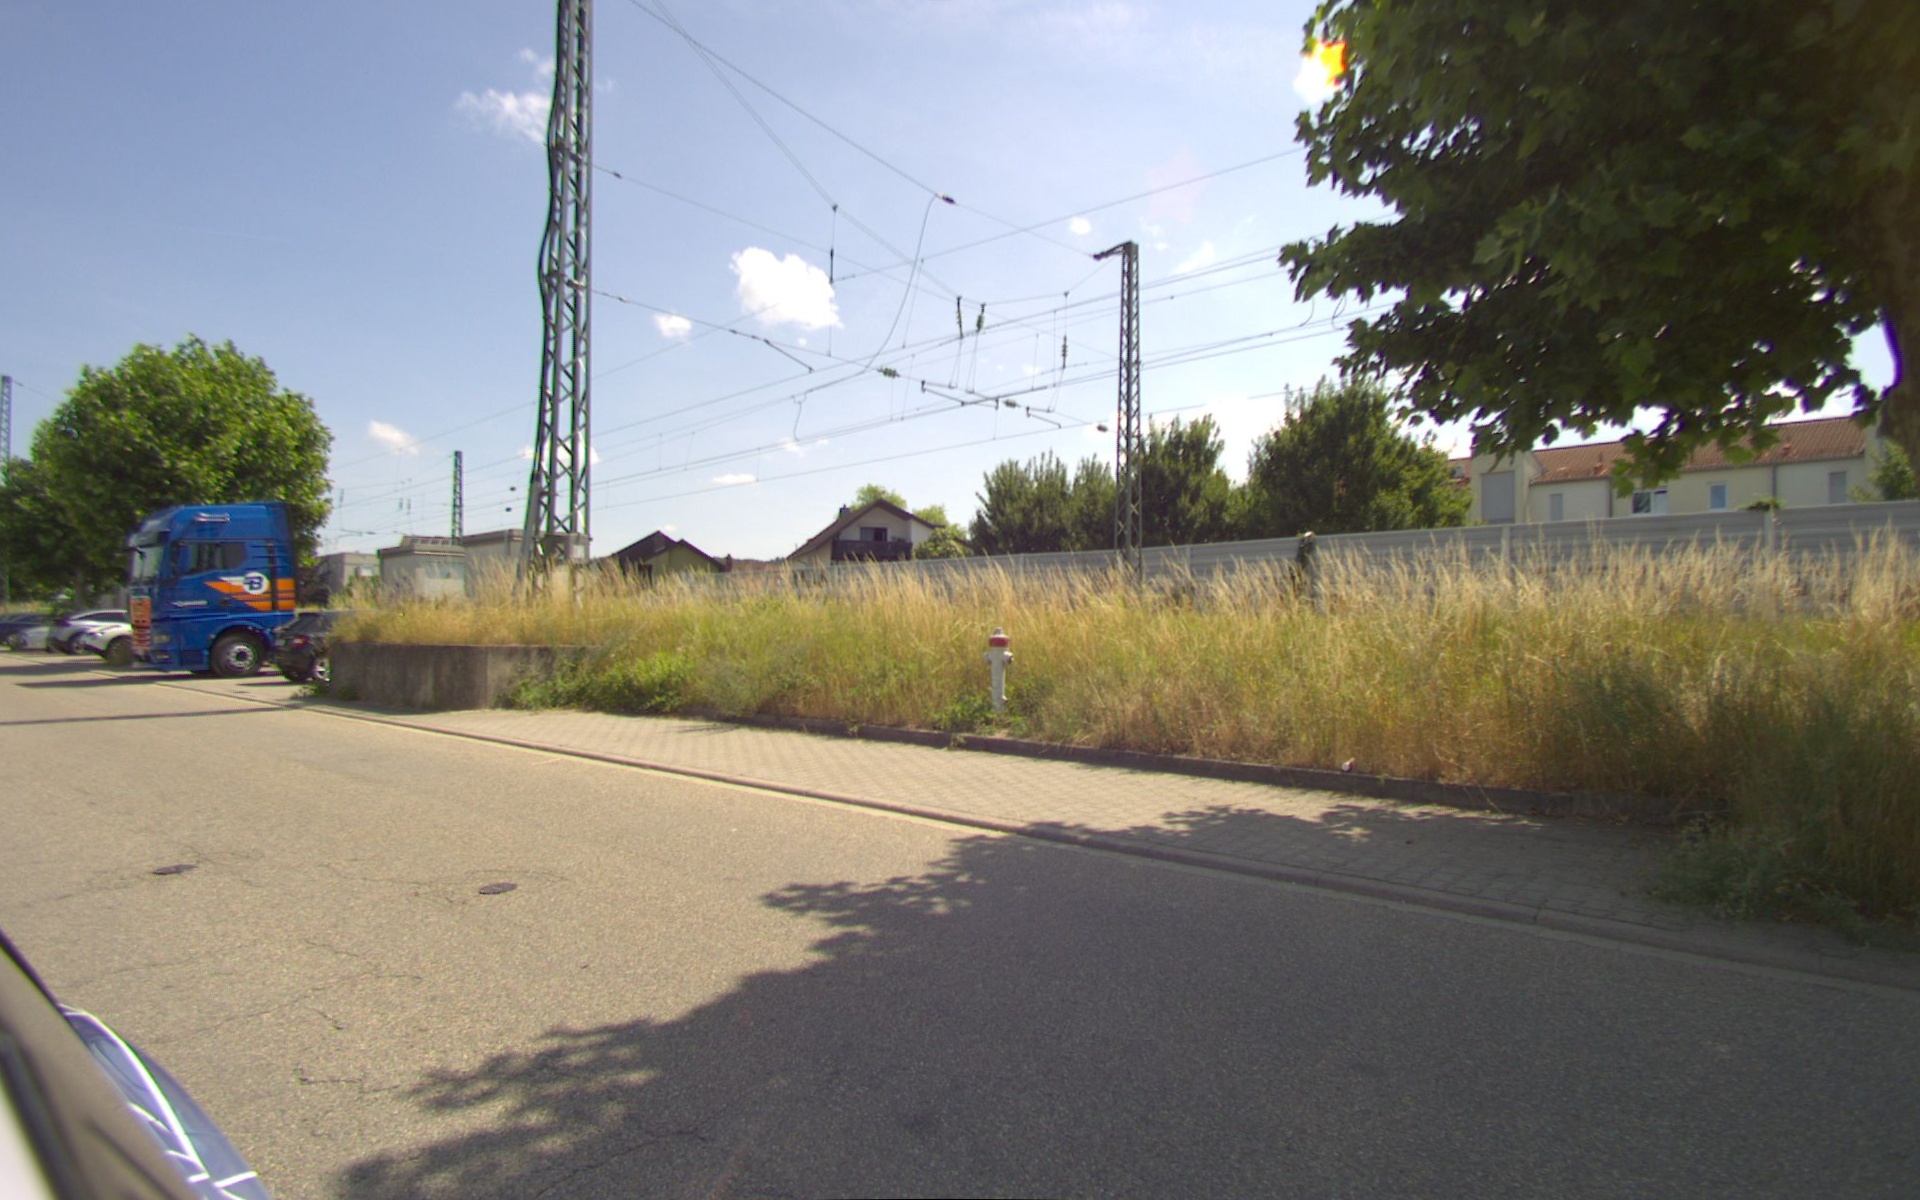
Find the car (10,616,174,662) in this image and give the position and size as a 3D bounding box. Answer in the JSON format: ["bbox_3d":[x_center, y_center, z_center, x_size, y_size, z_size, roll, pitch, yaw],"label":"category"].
[{"bbox_3d":[-31.705,1.393,37.070,1.924,1.544,4.294,-2,-2,40],"label":"car"}]

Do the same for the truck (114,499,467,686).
[{"bbox_3d":[-15.673,-0.112,24.172,2.660,3.852,6.551,-1,-1,38],"label":"truck"}]

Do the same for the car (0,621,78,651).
[{"bbox_3d":[-44.775,1.706,48.184,1.673,1.379,4.031,-3,-3,40],"label":"car"}]

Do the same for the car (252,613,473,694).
[{"bbox_3d":[-12.519,1.093,21.375,1.697,1.511,3.609,1,-1,37],"label":"car"}]

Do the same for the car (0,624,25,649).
[{"bbox_3d":[-55.330,2.018,56.474,1.785,1.421,4.384,-1,-3,37],"label":"car"}]

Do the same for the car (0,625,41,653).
[{"bbox_3d":[-51.051,2.057,53.072,1.784,1.412,4.034,-1,-1,38],"label":"car"}]

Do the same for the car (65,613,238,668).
[{"bbox_3d":[-25.477,1.253,32.006,1.848,1.630,3.933,-1,-2,37],"label":"car"}]

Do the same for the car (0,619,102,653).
[{"bbox_3d":[-40.092,1.558,44.172,1.787,1.461,3.900,-1,-2,44],"label":"car"}]

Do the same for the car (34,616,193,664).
[{"bbox_3d":[-29.583,1.365,35.445,1.997,1.559,3.948,-1,-2,38],"label":"car"}]
